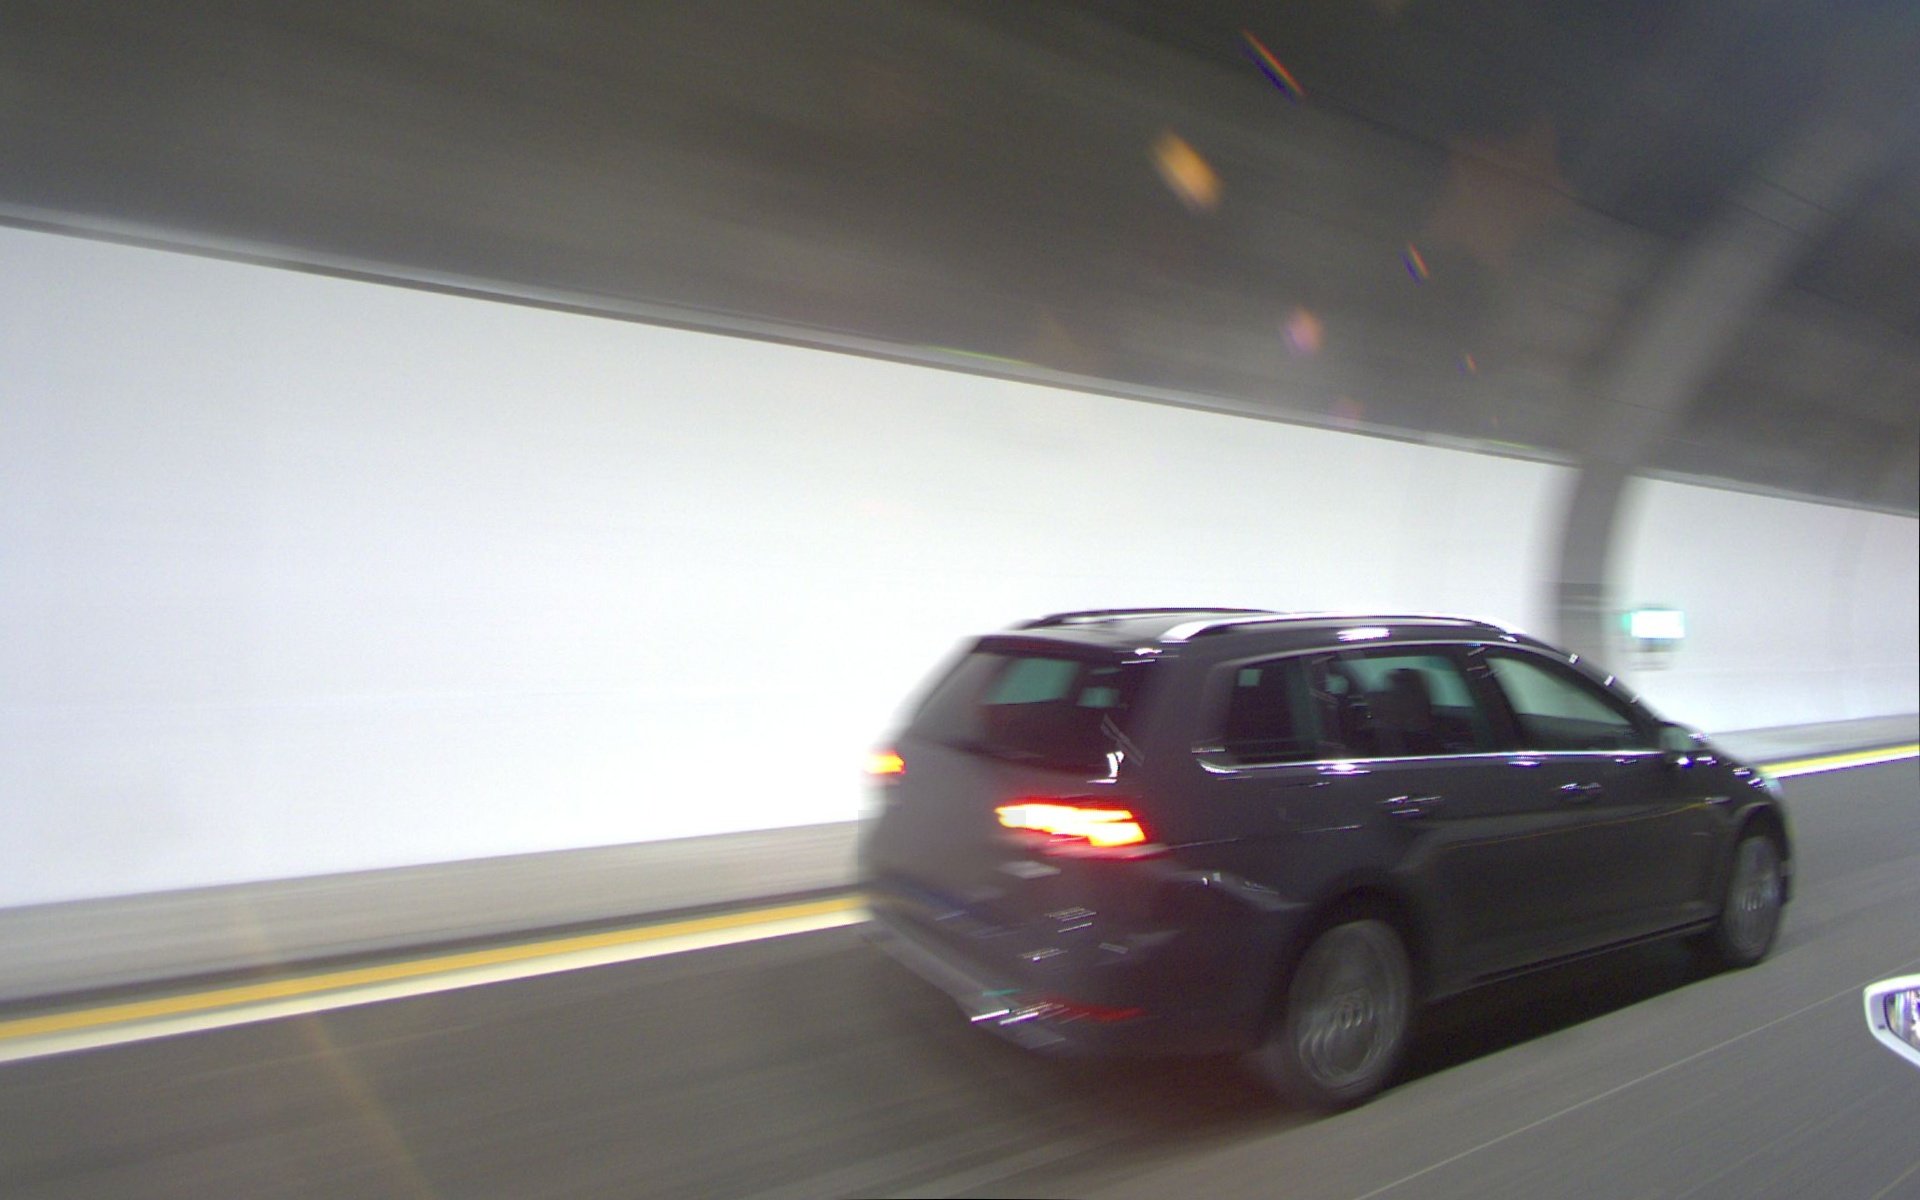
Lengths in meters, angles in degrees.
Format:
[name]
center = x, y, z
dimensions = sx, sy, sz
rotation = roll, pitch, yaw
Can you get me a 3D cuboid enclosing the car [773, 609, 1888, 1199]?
[car]
center = 1.816, 0.820, 4.268
dimensions = 4.825, 1.457, 1.769
rotation = 1, 0, -30
